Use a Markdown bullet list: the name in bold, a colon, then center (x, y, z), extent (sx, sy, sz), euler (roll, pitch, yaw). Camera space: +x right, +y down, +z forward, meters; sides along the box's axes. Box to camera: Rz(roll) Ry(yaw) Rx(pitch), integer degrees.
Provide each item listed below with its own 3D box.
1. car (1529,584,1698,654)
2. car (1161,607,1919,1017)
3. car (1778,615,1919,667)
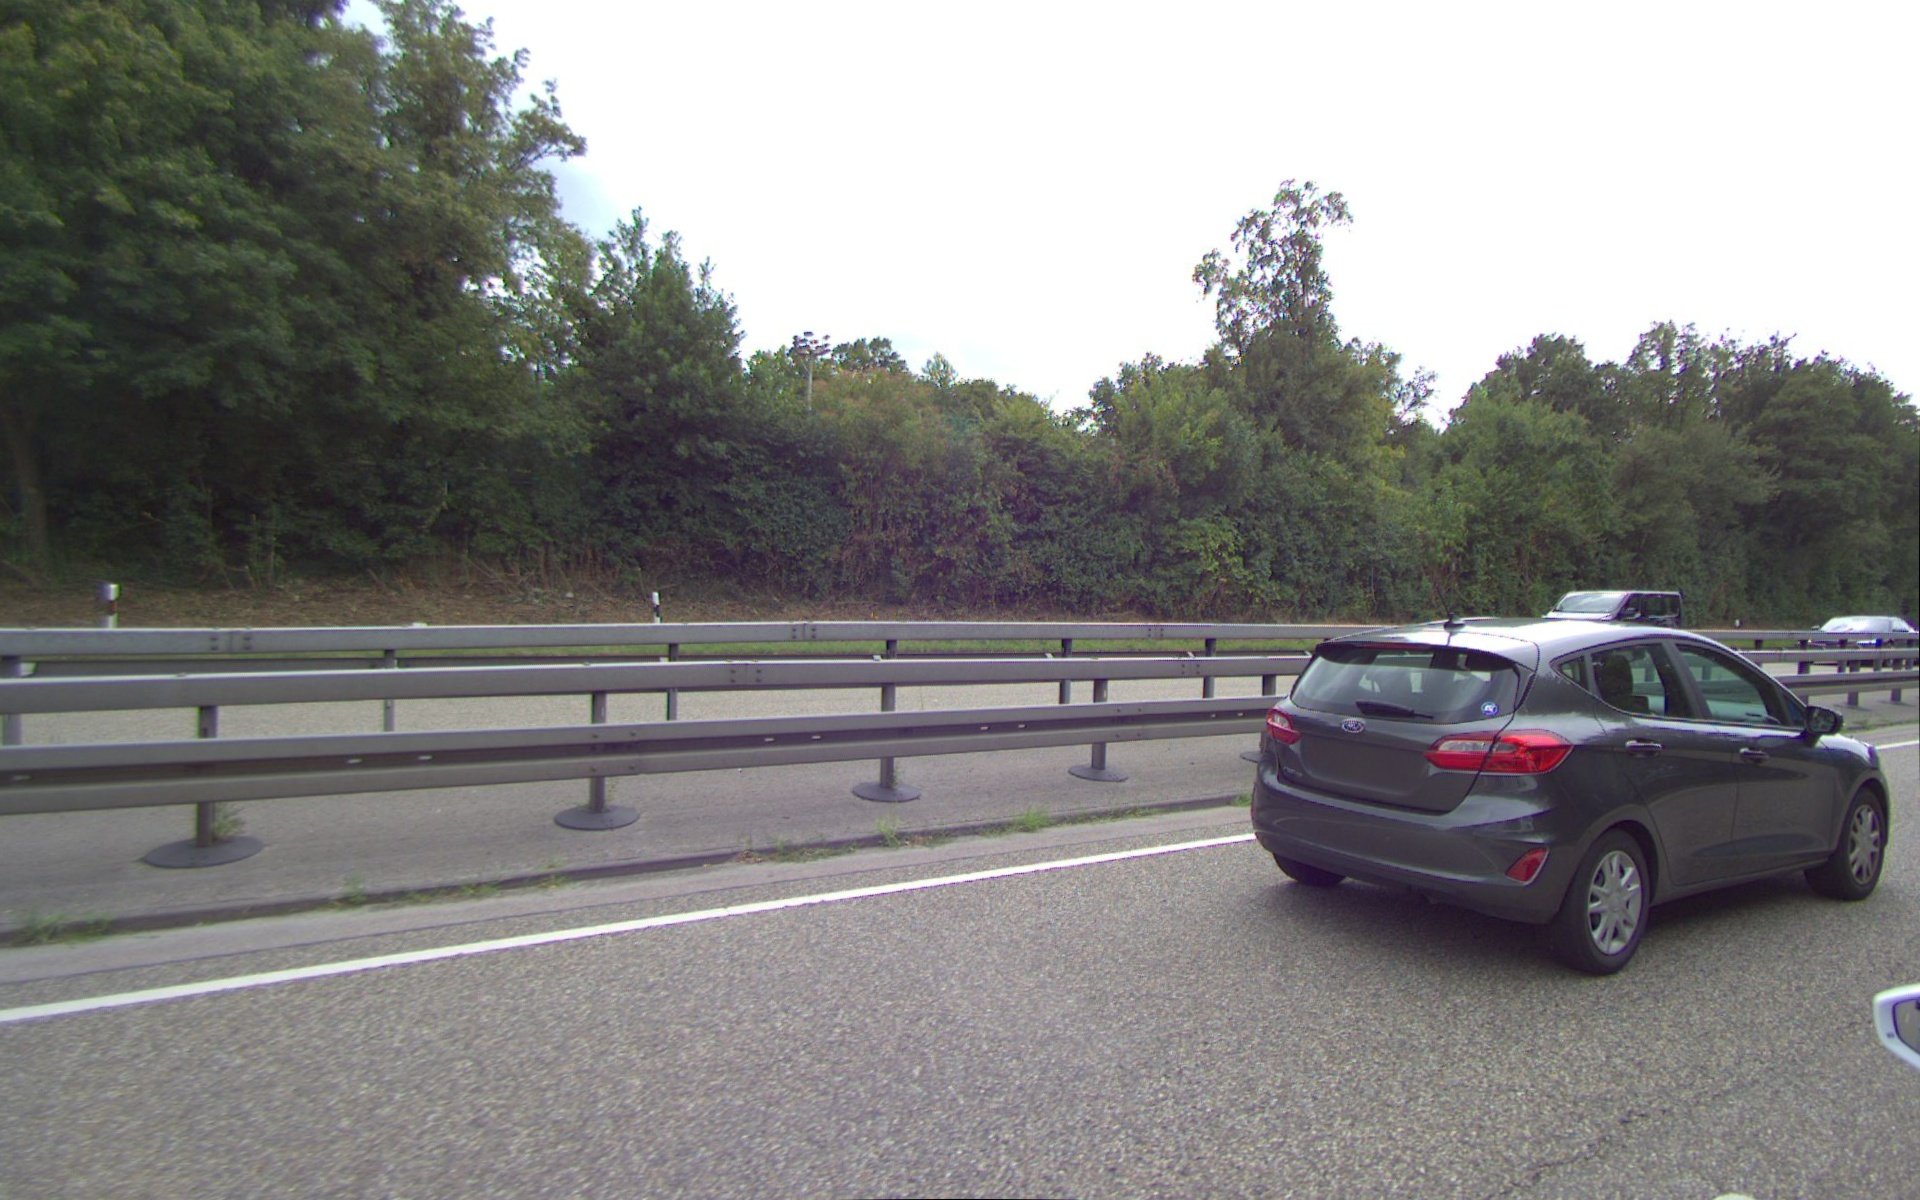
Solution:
- **car**: center (18.593, 0.575, 28.511), extent (5.065, 1.828, 2.025), euler (2, -1, -31)
- **car**: center (3.483, 0.835, 5.593), extent (4.585, 1.477, 1.817), euler (2, -1, -30)
- **car**: center (24.653, 1.131, 27.803), extent (4.659, 1.295, 1.646), euler (2, -1, -31)
